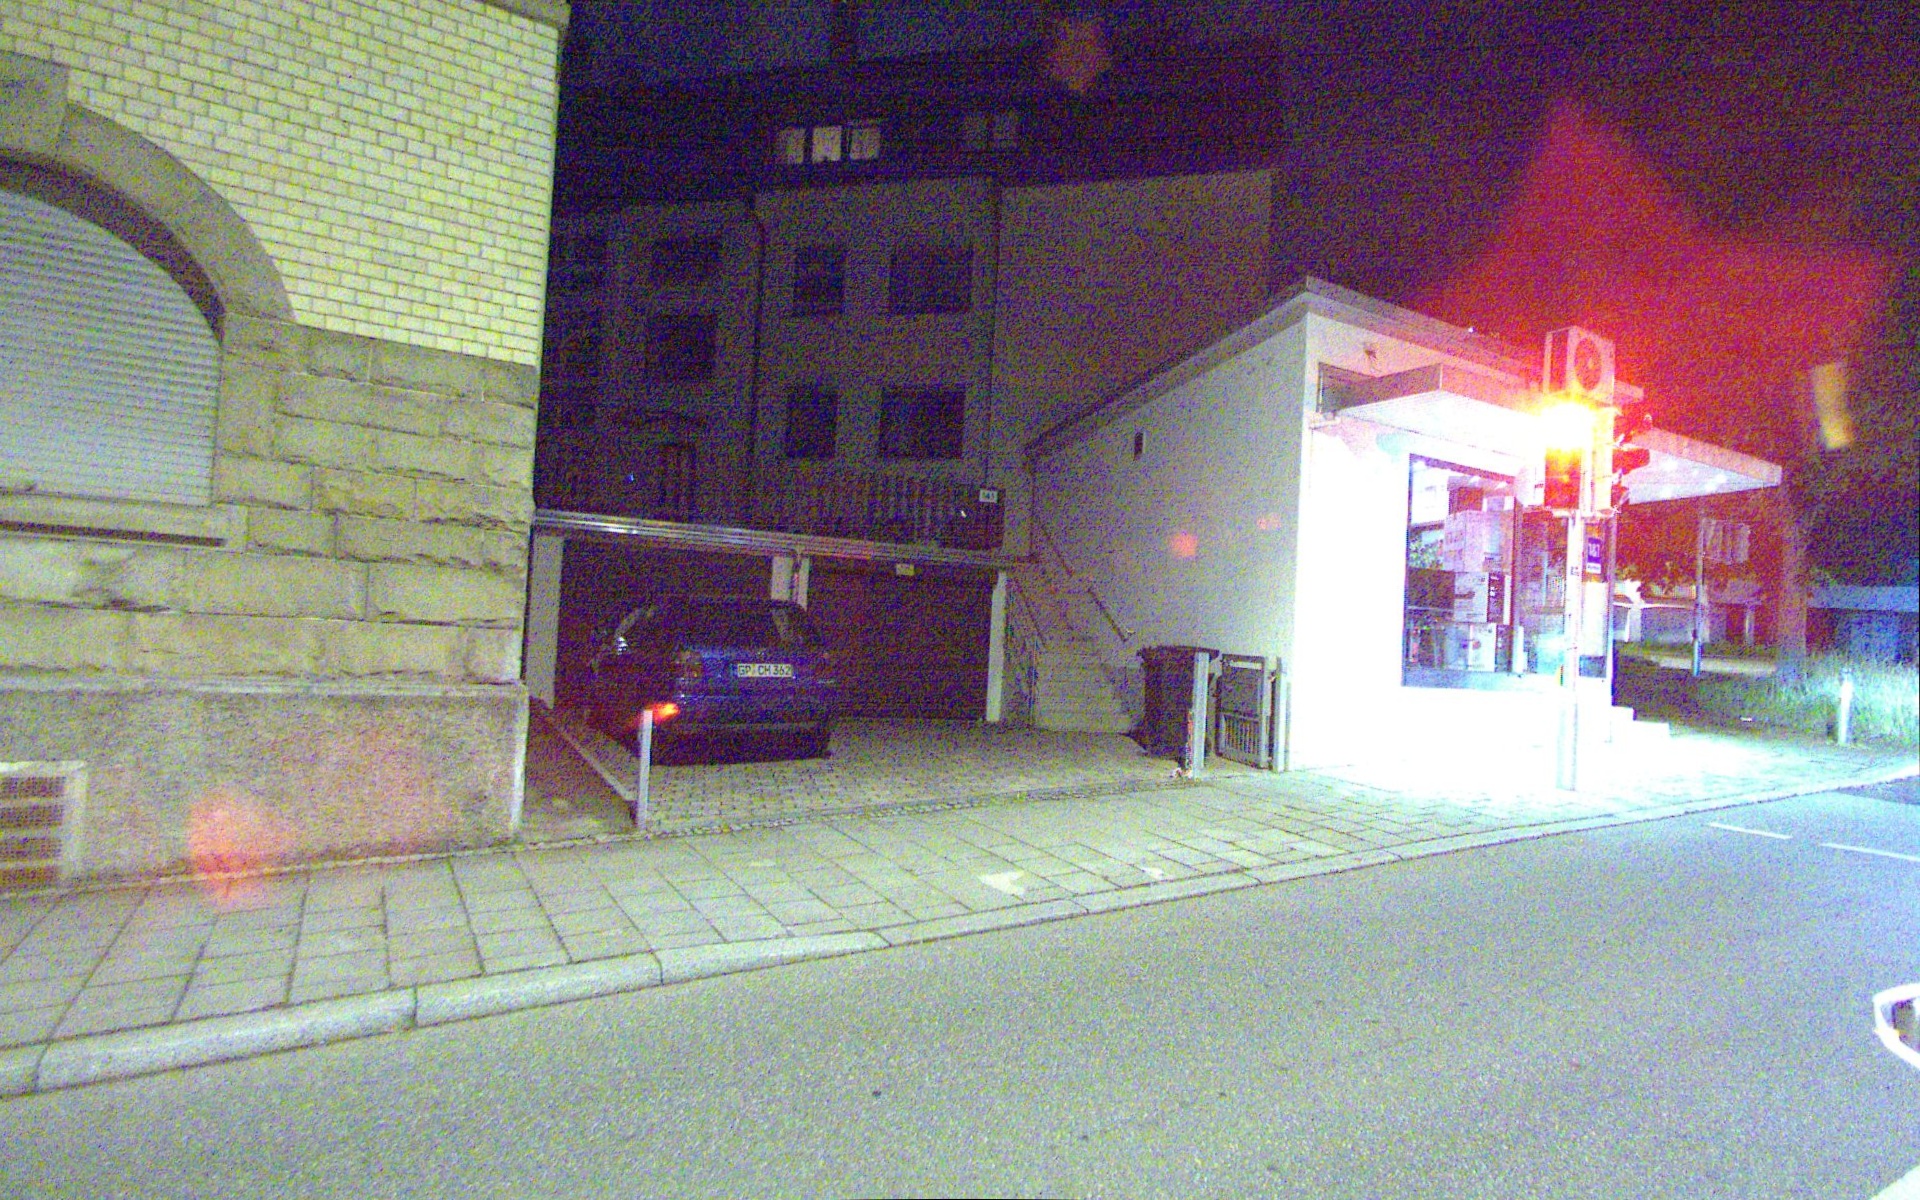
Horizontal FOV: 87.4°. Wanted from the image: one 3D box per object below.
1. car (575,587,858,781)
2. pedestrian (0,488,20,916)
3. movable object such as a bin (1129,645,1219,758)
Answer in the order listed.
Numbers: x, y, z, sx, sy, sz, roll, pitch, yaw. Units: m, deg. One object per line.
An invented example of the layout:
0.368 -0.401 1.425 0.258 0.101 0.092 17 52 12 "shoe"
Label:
-2.444 0.649 9.499 1.655 1.470 3.341 2 -1 -31 "car"
-4.303 0.418 3.671 1.091 1.768 0.738 2 0 -31 "pedestrian"
2.126 0.996 10.030 0.643 1.063 0.639 2 0 -12 "movable object such as a bin"
